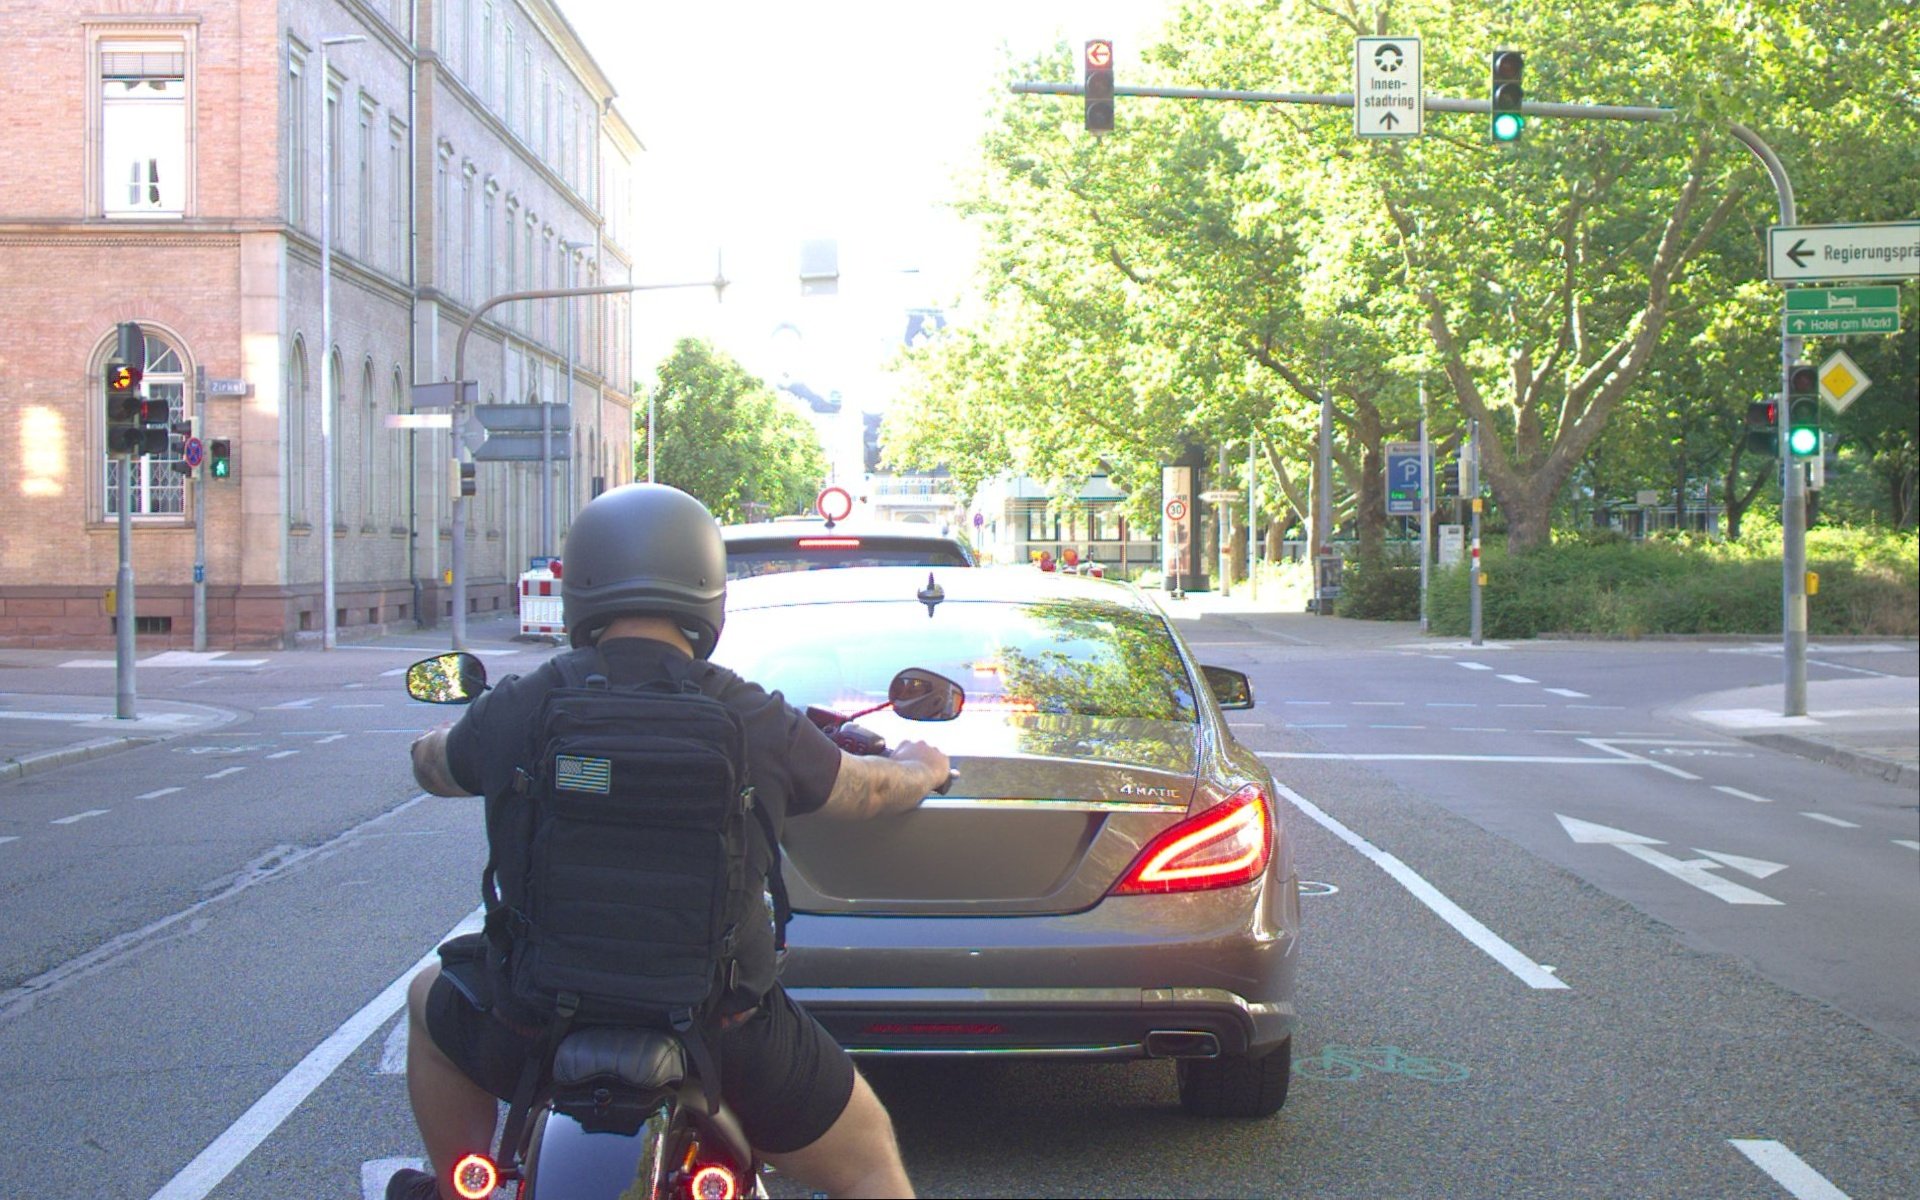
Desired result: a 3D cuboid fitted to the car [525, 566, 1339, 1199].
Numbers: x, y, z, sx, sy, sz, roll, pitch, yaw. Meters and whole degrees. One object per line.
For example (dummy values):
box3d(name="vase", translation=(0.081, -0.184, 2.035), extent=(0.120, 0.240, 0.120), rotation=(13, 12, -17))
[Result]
box3d(name="car", translation=(-0.085, 0.634, 9.677), extent=(1.822, 1.432, 3.806), rotation=(1, 1, -1))

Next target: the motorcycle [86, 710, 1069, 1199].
box3d(name="motorcycle", translation=(-0.469, 0.832, 5.513), extent=(1.118, 1.203, 2.212), rotation=(1, 1, 6))

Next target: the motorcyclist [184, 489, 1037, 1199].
box3d(name="motorcyclist", translation=(-0.483, 0.629, 5.289), extent=(1.099, 1.560, 1.071), rotation=(1, 0, 6))

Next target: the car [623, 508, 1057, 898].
box3d(name="car", translation=(-0.544, 0.427, 16.955), extent=(1.863, 1.672, 4.000), rotation=(1, 1, -1))
